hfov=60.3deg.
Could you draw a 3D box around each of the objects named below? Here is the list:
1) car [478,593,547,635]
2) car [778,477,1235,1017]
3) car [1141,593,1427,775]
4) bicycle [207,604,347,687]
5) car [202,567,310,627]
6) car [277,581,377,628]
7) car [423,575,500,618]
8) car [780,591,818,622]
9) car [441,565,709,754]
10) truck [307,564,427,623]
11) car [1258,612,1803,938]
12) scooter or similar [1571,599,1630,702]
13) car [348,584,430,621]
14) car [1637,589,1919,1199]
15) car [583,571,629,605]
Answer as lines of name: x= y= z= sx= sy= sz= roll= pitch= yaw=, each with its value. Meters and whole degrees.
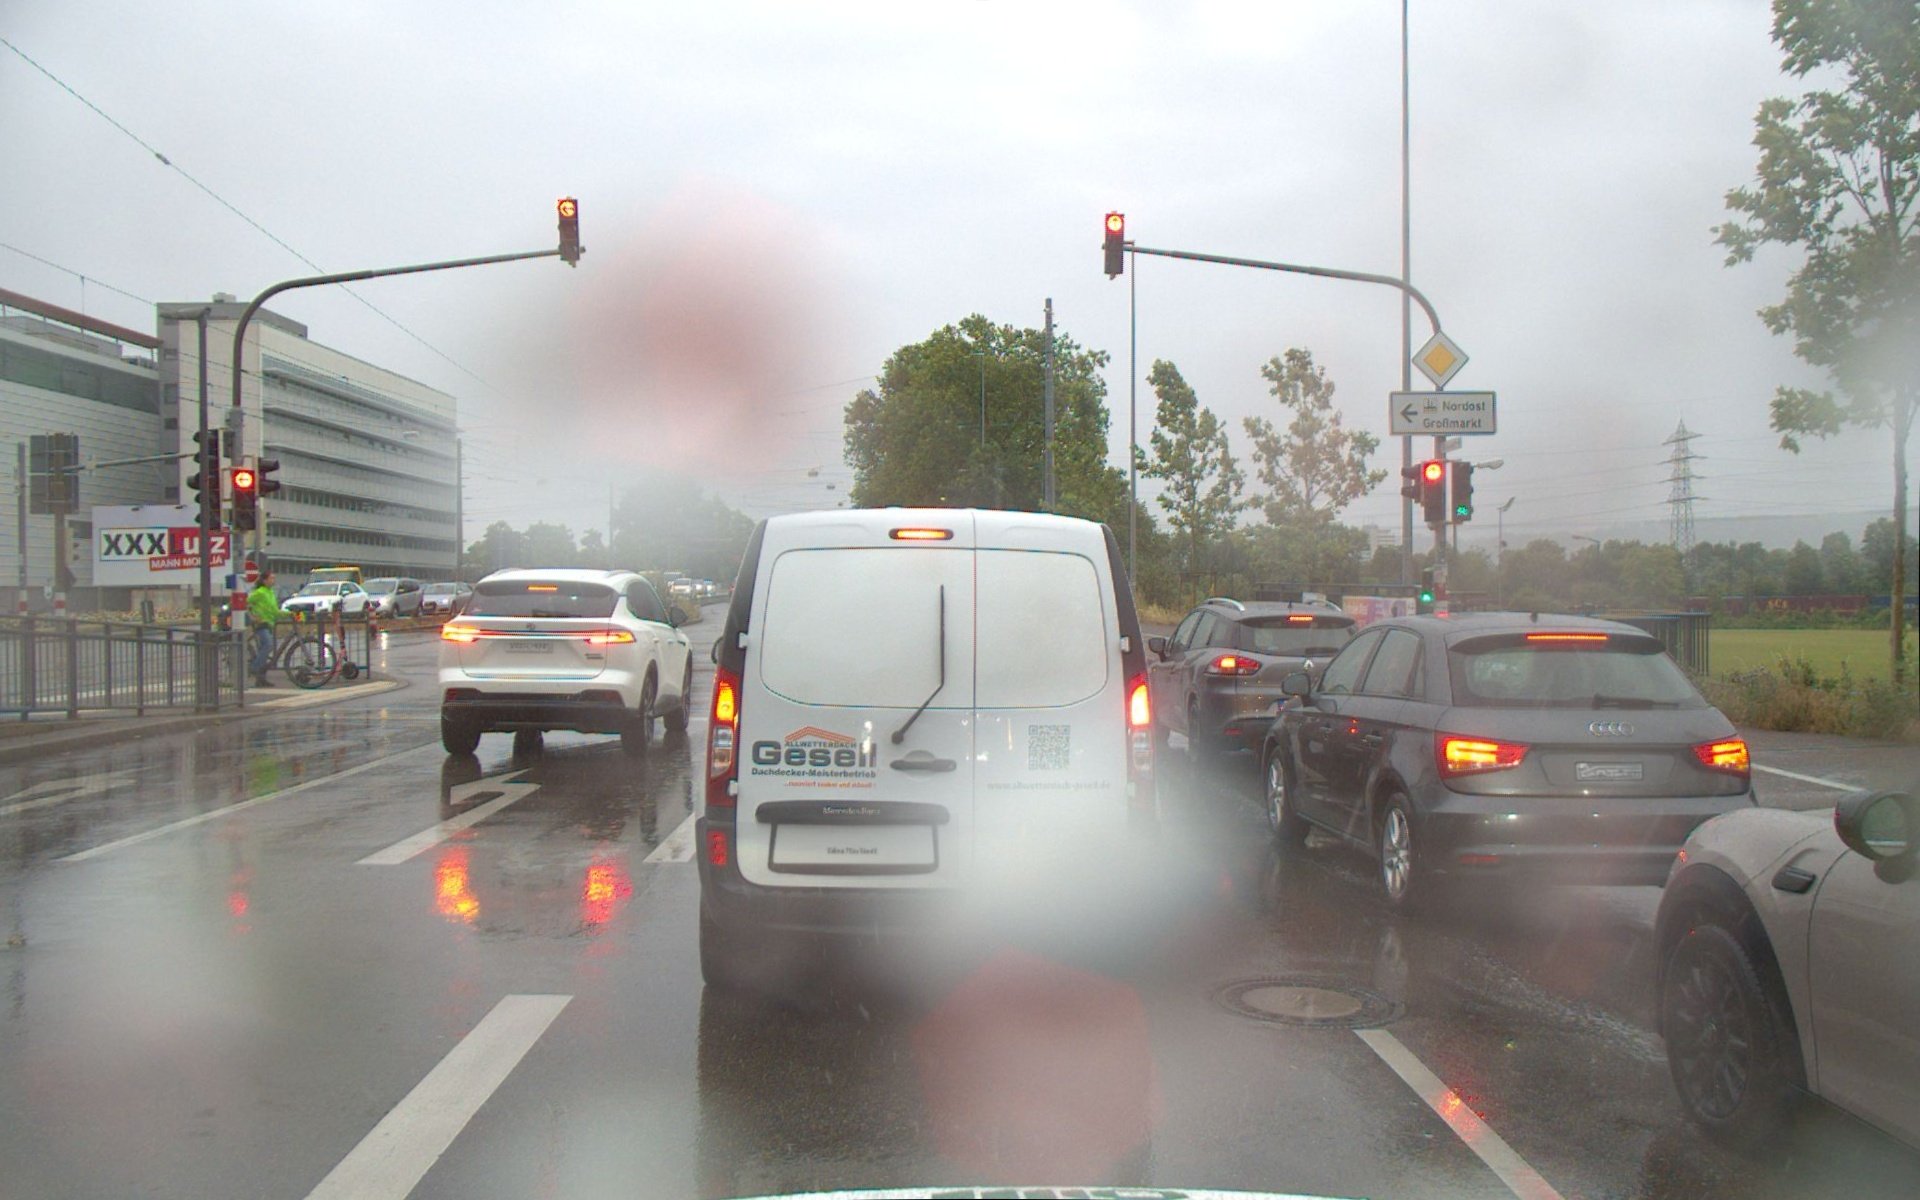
car: x=-20.809 y=0.647 z=77.105 sx=1.889 sy=1.859 sz=4.002 roll=1 pitch=0 yaw=4
car: x=0.134 y=0.503 z=7.600 sx=1.534 sy=1.819 sz=3.999 roll=0 pitch=0 yaw=-1
car: x=2.887 y=0.688 z=15.557 sx=1.822 sy=1.453 sz=3.806 roll=1 pitch=1 yaw=-2
bicycle: x=-9.631 y=0.639 z=23.344 sx=1.716 sy=1.052 sz=0.414 roll=4 pitch=-1 yaw=-3
car: x=-25.298 y=-0.102 z=59.597 sx=1.952 sy=2.049 sz=4.002 roll=1 pitch=0 yaw=3
car: x=-21.675 y=0.155 z=56.794 sx=1.662 sy=1.518 sz=3.878 roll=1 pitch=0 yaw=5
car: x=-21.062 y=-0.133 z=70.035 sx=1.853 sy=1.729 sz=4.001 roll=1 pitch=0 yaw=3
car: x=-8.141 y=0.333 z=83.439 sx=1.585 sy=1.530 sz=3.706 roll=1 pitch=0 yaw=-10
car: x=-3.567 y=0.478 z=16.077 sx=1.694 sy=1.562 sz=4.296 roll=1 pitch=1 yaw=-2
truck: x=-25.027 y=-0.233 z=70.193 sx=2.303 sy=2.319 sz=7.632 roll=1 pitch=0 yaw=0
car: x=2.798 y=0.774 z=8.956 sx=1.596 sy=1.368 sz=3.622 roll=1 pitch=0 yaw=-2
scooter or similar: x=7.584 y=0.587 z=19.606 sx=0.240 sy=1.178 sz=1.186 roll=1 pitch=0 yaw=1
car: x=-21.594 y=0.111 z=62.701 sx=1.554 sy=1.359 sz=3.832 roll=1 pitch=-1 yaw=4
car: x=2.957 y=0.758 z=3.236 sx=1.679 sy=1.534 sz=3.622 roll=1 pitch=0 yaw=-2
car: x=-22.162 y=-0.735 z=103.674 sx=1.952 sy=2.049 sz=4.000 roll=1 pitch=0 yaw=1
